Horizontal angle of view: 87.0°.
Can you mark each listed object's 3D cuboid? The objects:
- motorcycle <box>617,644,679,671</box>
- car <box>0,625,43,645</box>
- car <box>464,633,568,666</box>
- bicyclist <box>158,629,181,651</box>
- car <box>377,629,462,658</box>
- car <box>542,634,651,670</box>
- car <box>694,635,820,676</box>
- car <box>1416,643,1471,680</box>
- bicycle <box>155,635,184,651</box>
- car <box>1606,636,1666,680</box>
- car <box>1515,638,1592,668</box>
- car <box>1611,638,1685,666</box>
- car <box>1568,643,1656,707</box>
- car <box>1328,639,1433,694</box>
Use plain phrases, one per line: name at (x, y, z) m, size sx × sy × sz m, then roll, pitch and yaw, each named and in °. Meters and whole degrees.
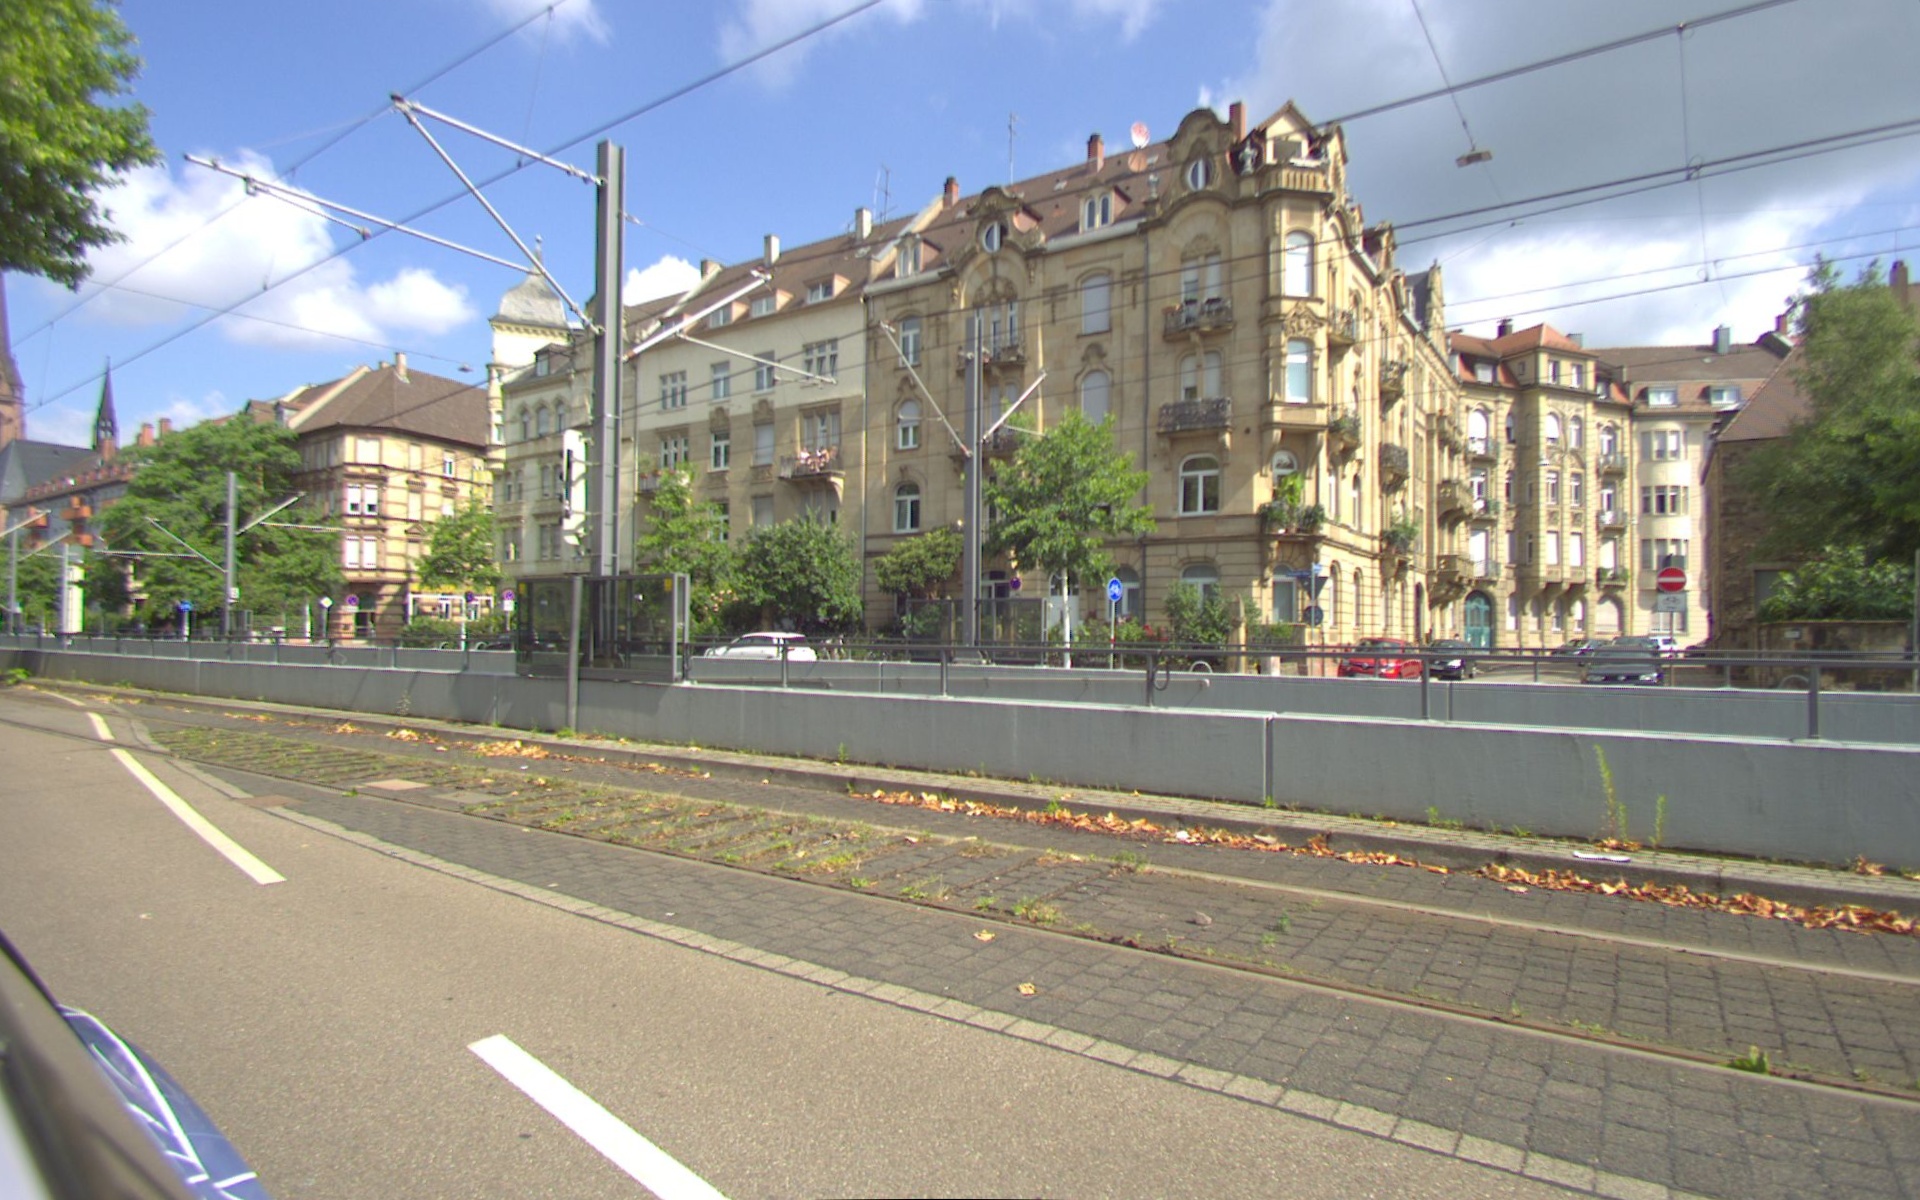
motorcycle at (-11.785, 2.182, 38.273) m, size 1.414 × 0.949 × 1.746 m, roll -1°, pitch -4°, yaw 34°
car at (-80.318, 2.993, 86.470) m, size 4.104 × 1.650 × 1.976 m, roll -1°, pitch -3°, yaw 35°
car at (-18.920, 2.084, 43.066) m, size 4.715 × 1.337 × 1.931 m, roll -1°, pitch -3°, yaw 36°
bicyclist at (-48.817, 2.458, 62.484) m, size 1.047 × 1.348 × 0.761 m, roll -1°, pitch -4°, yaw 36°
car at (-31.572, 2.508, 59.225) m, size 2.026 × 1.618 × 3.927 m, roll -1°, pitch -2°, yaw 26°
car at (-14.435, 2.022, 40.135) m, size 4.088 × 1.337 × 2.003 m, roll -1°, pitch -3°, yaw 33°
car at (-7.018, 1.885, 34.901) m, size 4.300 × 1.338 × 1.737 m, roll -1°, pitch -3°, yaw 33°
car at (18.478, 2.305, 38.610) m, size 1.499 × 1.323 × 3.203 m, roll -1°, pitch -3°, yaw 33°
bicycle at (-48.795, 2.643, 62.462) m, size 2.136 × 0.986 × 0.769 m, roll -1°, pitch -4°, yaw 36°
car at (27.841, 2.358, 41.730) m, size 1.927 × 1.683 × 3.749 m, roll -1°, pitch -3°, yaw 33°
car at (34.963, 3.105, 59.639) m, size 3.727 × 1.683 × 1.939 m, roll 1°, pitch -2°, yaw -20°
car at (42.320, 3.192, 62.234) m, size 3.727 × 1.683 × 1.939 m, roll 1°, pitch -2°, yaw -20°
car at (16.642, 1.847, 25.764) m, size 1.720 × 1.475 × 3.928 m, roll -1°, pitch -3°, yaw 35°
car at (12.339, 1.897, 29.590) m, size 1.930 × 1.475 × 3.744 m, roll -1°, pitch -3°, yaw 38°
